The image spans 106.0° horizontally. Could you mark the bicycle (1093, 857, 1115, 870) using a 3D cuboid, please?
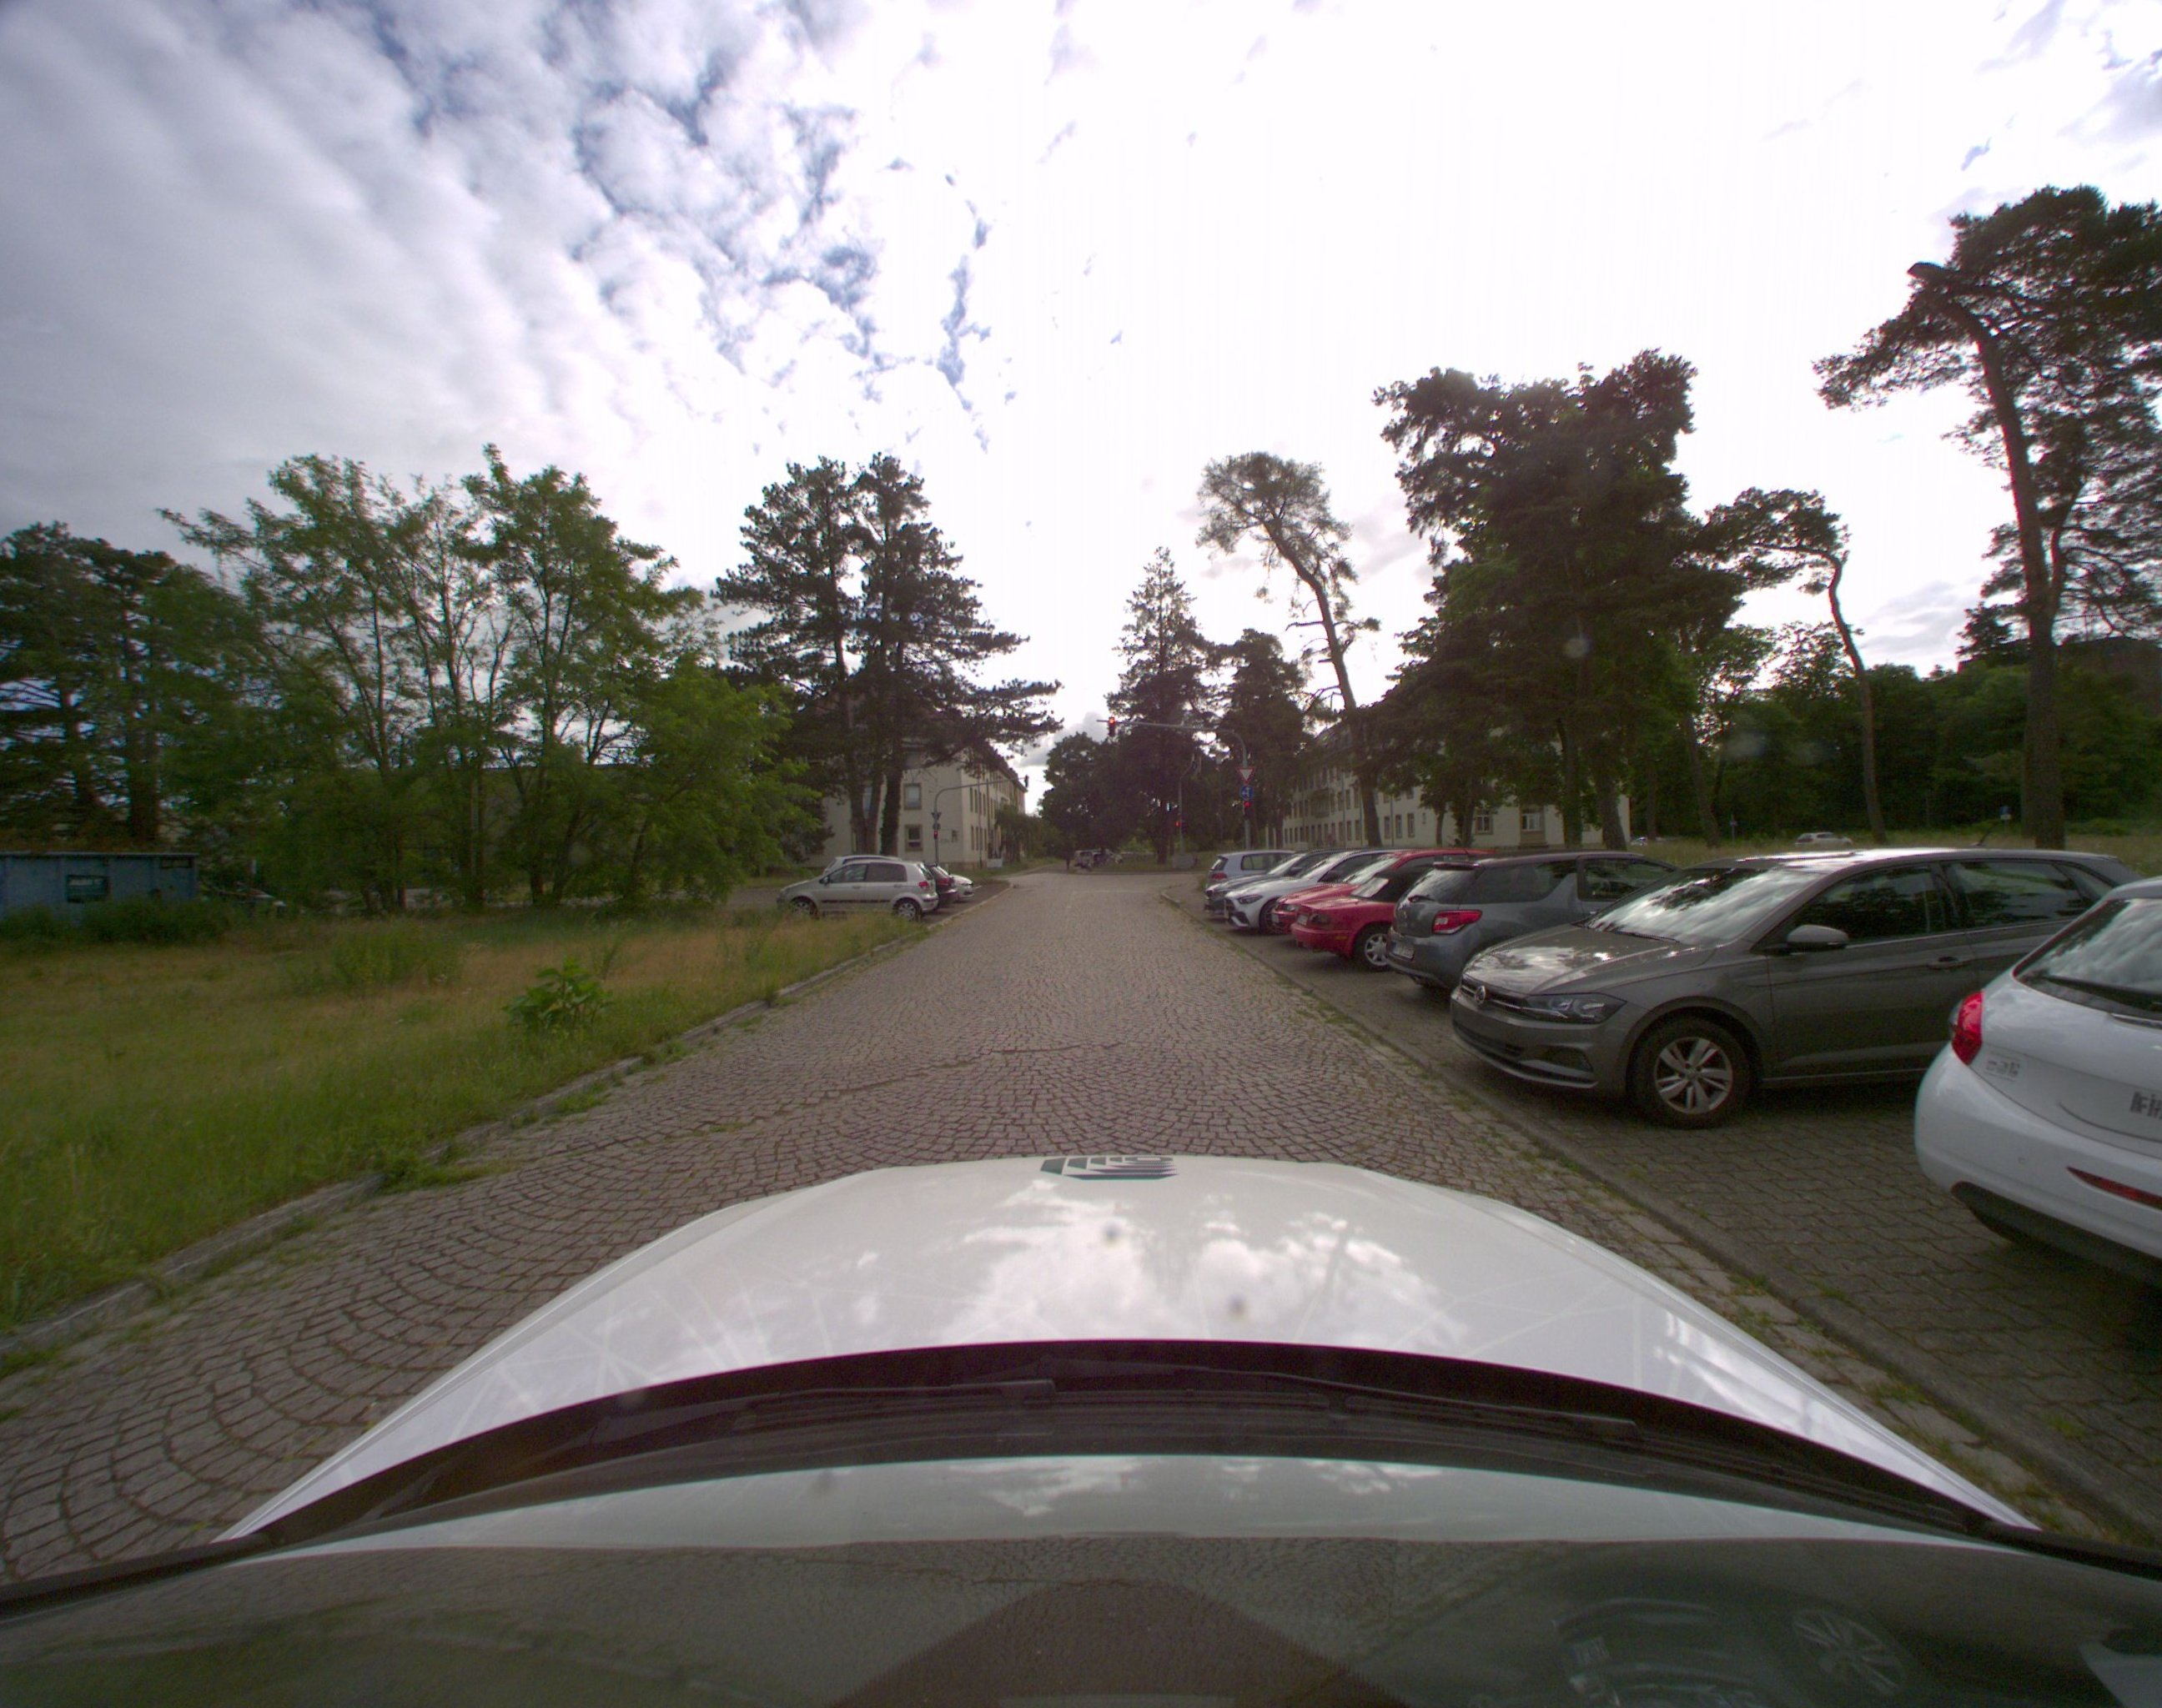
[{"bbox_3d":[2.071,0.833,72.951,1.967,1.069,0.582,-2,0,-30],"label":"bicycle"}]

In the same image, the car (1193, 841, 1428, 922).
[{"bbox_3d":[5.016,0.579,18.198,4.669,1.416,1.869,-3,0,-2],"label":"car"}]

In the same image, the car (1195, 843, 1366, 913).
[{"bbox_3d":[4.964,0.579,20.650,3.912,1.477,1.643,-3,0,1],"label":"car"}]

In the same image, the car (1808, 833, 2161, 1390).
[{"bbox_3d":[4.852,0.622,2.357,3.848,1.472,1.758,-3,0,1],"label":"car"}]

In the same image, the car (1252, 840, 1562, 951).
[{"bbox_3d":[5.125,0.623,13.244,4.248,1.416,1.871,-3,0,0],"label":"car"}]

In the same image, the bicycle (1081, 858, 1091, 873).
[{"bbox_3d":[0.426,0.920,66.285,0.602,1.132,1.958,-2,0,-5],"label":"bicycle"}]

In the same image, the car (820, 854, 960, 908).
[{"bbox_3d":[-5.817,0.819,25.196,3.938,1.563,1.648,1,0,-3],"label":"car"}]

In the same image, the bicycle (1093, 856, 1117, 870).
[{"bbox_3d":[2.056,0.779,69.485,1.953,1.132,0.586,-2,0,-7],"label":"bicycle"}]

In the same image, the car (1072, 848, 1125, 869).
[{"bbox_3d":[1.839,0.459,87.570,5.359,1.925,2.019,-3,0,-9],"label":"car"}]

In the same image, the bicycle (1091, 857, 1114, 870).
[{"bbox_3d":[1.907,0.834,71.601,1.967,1.069,0.582,-2,0,-30],"label":"bicycle"}]

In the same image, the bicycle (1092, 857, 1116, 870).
[{"bbox_3d":[1.999,0.805,70.118,1.953,1.117,0.586,-2,0,-7],"label":"bicycle"}]

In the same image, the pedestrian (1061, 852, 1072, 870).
[{"bbox_3d":[-1.345,0.671,75.454,0.742,1.618,0.770,-2,0,-24],"label":"pedestrian"}]

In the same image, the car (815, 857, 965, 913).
[{"bbox_3d":[-5.171,0.821,22.418,3.737,1.428,1.581,1,0,-3],"label":"car"}]

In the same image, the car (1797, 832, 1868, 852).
[{"bbox_3d":[58.266,-0.919,63.182,3.931,1.421,1.651,1,0,3],"label":"car"}]

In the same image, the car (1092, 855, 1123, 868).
[{"bbox_3d":[2.704,0.791,84.207,3.001,1.268,1.532,-2,0,-6],"label":"car"}]

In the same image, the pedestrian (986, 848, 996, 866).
[{"bbox_3d":[-9.455,0.346,85.200,0.779,1.837,0.733,-2,0,-31],"label":"pedestrian"}]

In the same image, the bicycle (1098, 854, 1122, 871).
[{"bbox_3d":[2.544,0.711,70.951,1.953,1.384,0.586,-2,0,-7],"label":"bicycle"}]

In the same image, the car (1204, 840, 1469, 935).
[{"bbox_3d":[4.775,0.584,15.511,4.420,1.416,1.865,-3,0,-9],"label":"car"}]

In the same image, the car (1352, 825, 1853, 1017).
[{"bbox_3d":[4.952,0.588,8.132,3.851,1.472,1.757,-3,0,-1],"label":"car"}]

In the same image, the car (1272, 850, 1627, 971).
[{"bbox_3d":[4.689,0.684,10.758,3.851,1.236,1.757,-3,0,-1],"label":"car"}]

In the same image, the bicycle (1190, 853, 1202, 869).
[{"bbox_3d":[8.114,0.457,57.390,0.584,1.106,1.961,-2,0,0],"label":"bicycle"}]

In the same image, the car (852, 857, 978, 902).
[{"bbox_3d":[-5.593,0.857,27.738,3.935,1.421,1.650,1,0,-1],"label":"car"}]

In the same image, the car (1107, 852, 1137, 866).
[{"bbox_3d":[4.607,0.588,91.456,3.224,1.416,1.723,-2,0,-3],"label":"car"}]

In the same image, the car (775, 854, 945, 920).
[{"bbox_3d":[-5.294,0.783,19.820,3.694,1.479,1.581,1,0,-3],"label":"car"}]

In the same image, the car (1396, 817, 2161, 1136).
[{"bbox_3d":[4.327,0.638,5.259,3.852,1.472,1.757,-3,0,-2],"label":"car"}]

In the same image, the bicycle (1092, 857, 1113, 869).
[{"bbox_3d":[2.025,0.828,76.637,1.964,1.069,0.583,-2,0,-25],"label":"bicycle"}]
